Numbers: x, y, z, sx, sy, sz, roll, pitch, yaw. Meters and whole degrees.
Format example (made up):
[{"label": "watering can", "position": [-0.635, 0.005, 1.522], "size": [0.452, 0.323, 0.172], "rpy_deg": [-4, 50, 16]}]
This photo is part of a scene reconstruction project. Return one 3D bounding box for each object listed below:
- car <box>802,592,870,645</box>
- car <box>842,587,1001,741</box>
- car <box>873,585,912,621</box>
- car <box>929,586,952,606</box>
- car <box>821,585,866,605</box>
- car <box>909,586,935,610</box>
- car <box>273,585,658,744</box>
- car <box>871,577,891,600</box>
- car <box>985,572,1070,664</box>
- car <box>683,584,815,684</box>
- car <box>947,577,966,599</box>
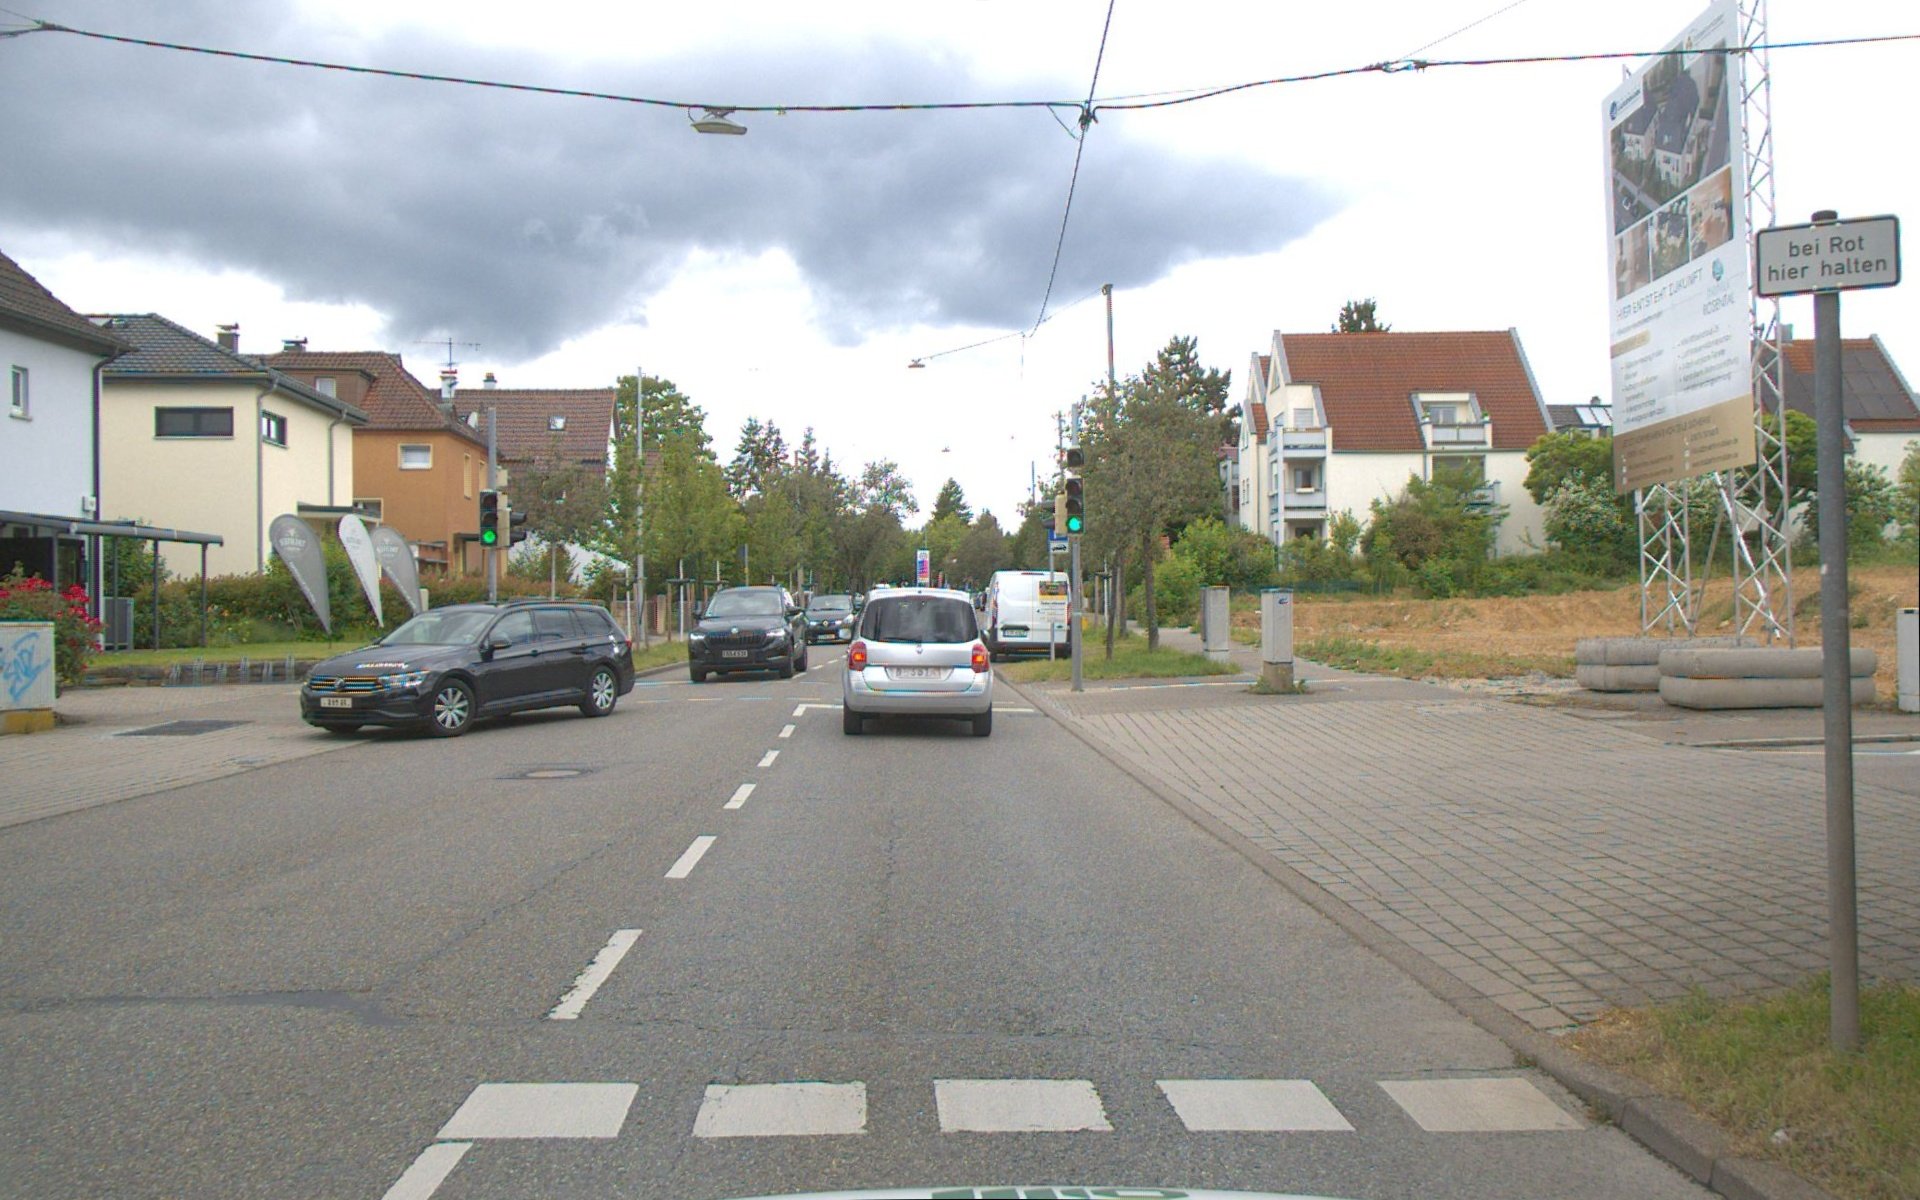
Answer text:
[{"label": "car", "position": [-3.717, 0.540, 50.077], "size": [1.582, 1.497, 4.001], "rpy_deg": [-1, 0, 2]}, {"label": "car", "position": [-0.385, 0.661, 19.056], "size": [1.645, 1.587, 3.512], "rpy_deg": [1, 0, 1]}, {"label": "car", "position": [-3.493, 0.128, 85.985], "size": [1.777, 1.722, 4.465], "rpy_deg": [-2, 0, 0]}, {"label": "car", "position": [-1.741, -0.392, 148.583], "size": [1.799, 1.743, 3.997], "rpy_deg": [-2, 0, -4]}, {"label": "car", "position": [-10.751, -0.477, 152.327], "size": [4.002, 1.735, 1.747], "rpy_deg": [-1, 0, 0]}, {"label": "car", "position": [-2.905, -0.166, 127.439], "size": [1.758, 1.782, 4.299], "rpy_deg": [-2, 0, 1]}, {"label": "car", "position": [-5.747, 0.675, 19.913], "size": [1.953, 1.649, 4.648], "rpy_deg": [-1, 0, 22]}, {"label": "car", "position": [-9.442, -1.397, 197.371], "size": [2.031, 2.627, 5.299], "rpy_deg": [-3, 0, 0]}, {"label": "car", "position": [1.494, 0.365, 38.081], "size": [1.739, 1.977, 4.788], "rpy_deg": [0, 0, 0]}, {"label": "car", "position": [-3.747, 0.563, 29.972], "size": [1.856, 1.653, 4.000], "rpy_deg": [-1, 0, 0]}, {"label": "car", "position": [-0.498, -1.606, 228.465], "size": [2.237, 2.962, 5.273], "rpy_deg": [1, 0, -5]}]
